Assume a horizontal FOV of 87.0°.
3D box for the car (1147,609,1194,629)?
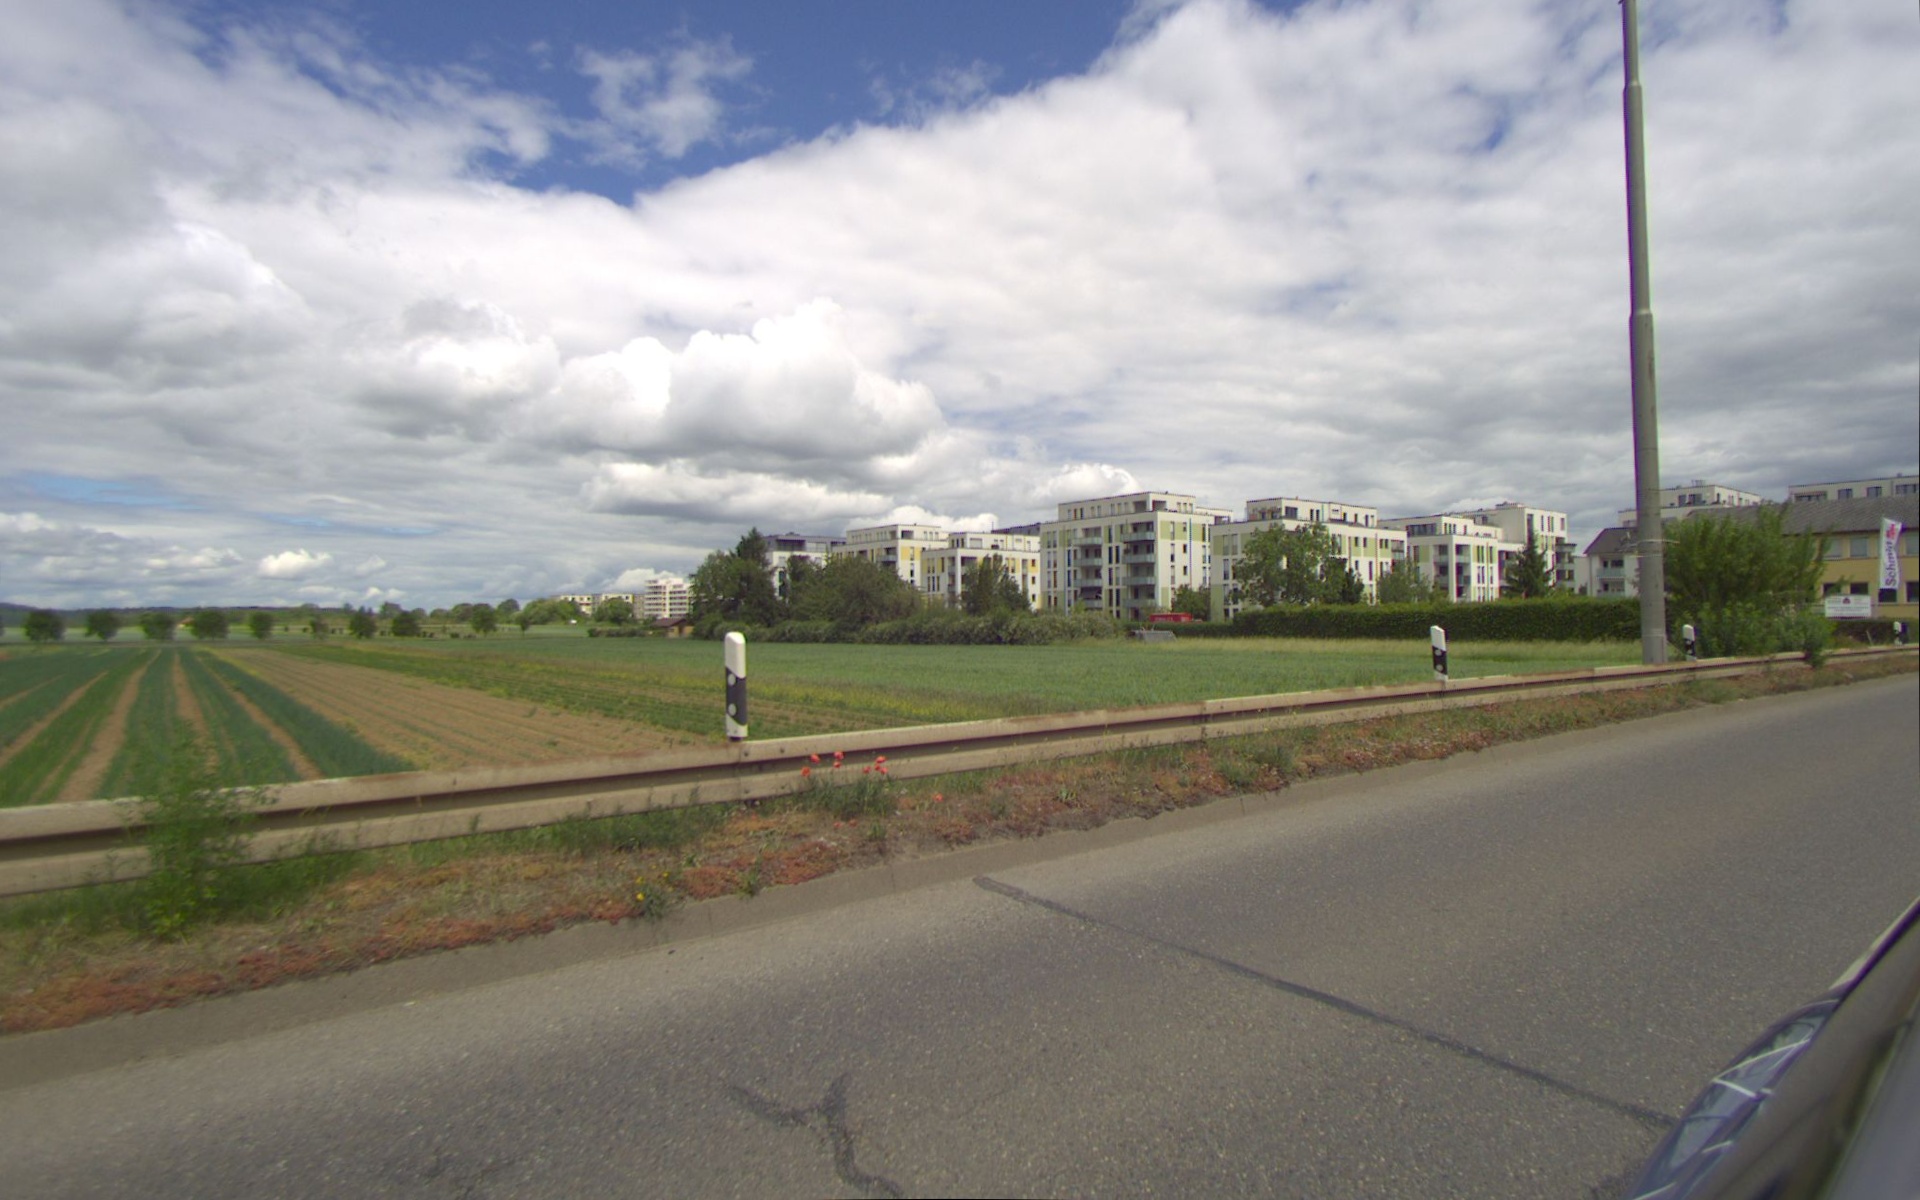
[{"bbox_3d":[21.865,1.938,105.262,1.965,2.039,4.432,0,0,-41],"label":"car"}]
